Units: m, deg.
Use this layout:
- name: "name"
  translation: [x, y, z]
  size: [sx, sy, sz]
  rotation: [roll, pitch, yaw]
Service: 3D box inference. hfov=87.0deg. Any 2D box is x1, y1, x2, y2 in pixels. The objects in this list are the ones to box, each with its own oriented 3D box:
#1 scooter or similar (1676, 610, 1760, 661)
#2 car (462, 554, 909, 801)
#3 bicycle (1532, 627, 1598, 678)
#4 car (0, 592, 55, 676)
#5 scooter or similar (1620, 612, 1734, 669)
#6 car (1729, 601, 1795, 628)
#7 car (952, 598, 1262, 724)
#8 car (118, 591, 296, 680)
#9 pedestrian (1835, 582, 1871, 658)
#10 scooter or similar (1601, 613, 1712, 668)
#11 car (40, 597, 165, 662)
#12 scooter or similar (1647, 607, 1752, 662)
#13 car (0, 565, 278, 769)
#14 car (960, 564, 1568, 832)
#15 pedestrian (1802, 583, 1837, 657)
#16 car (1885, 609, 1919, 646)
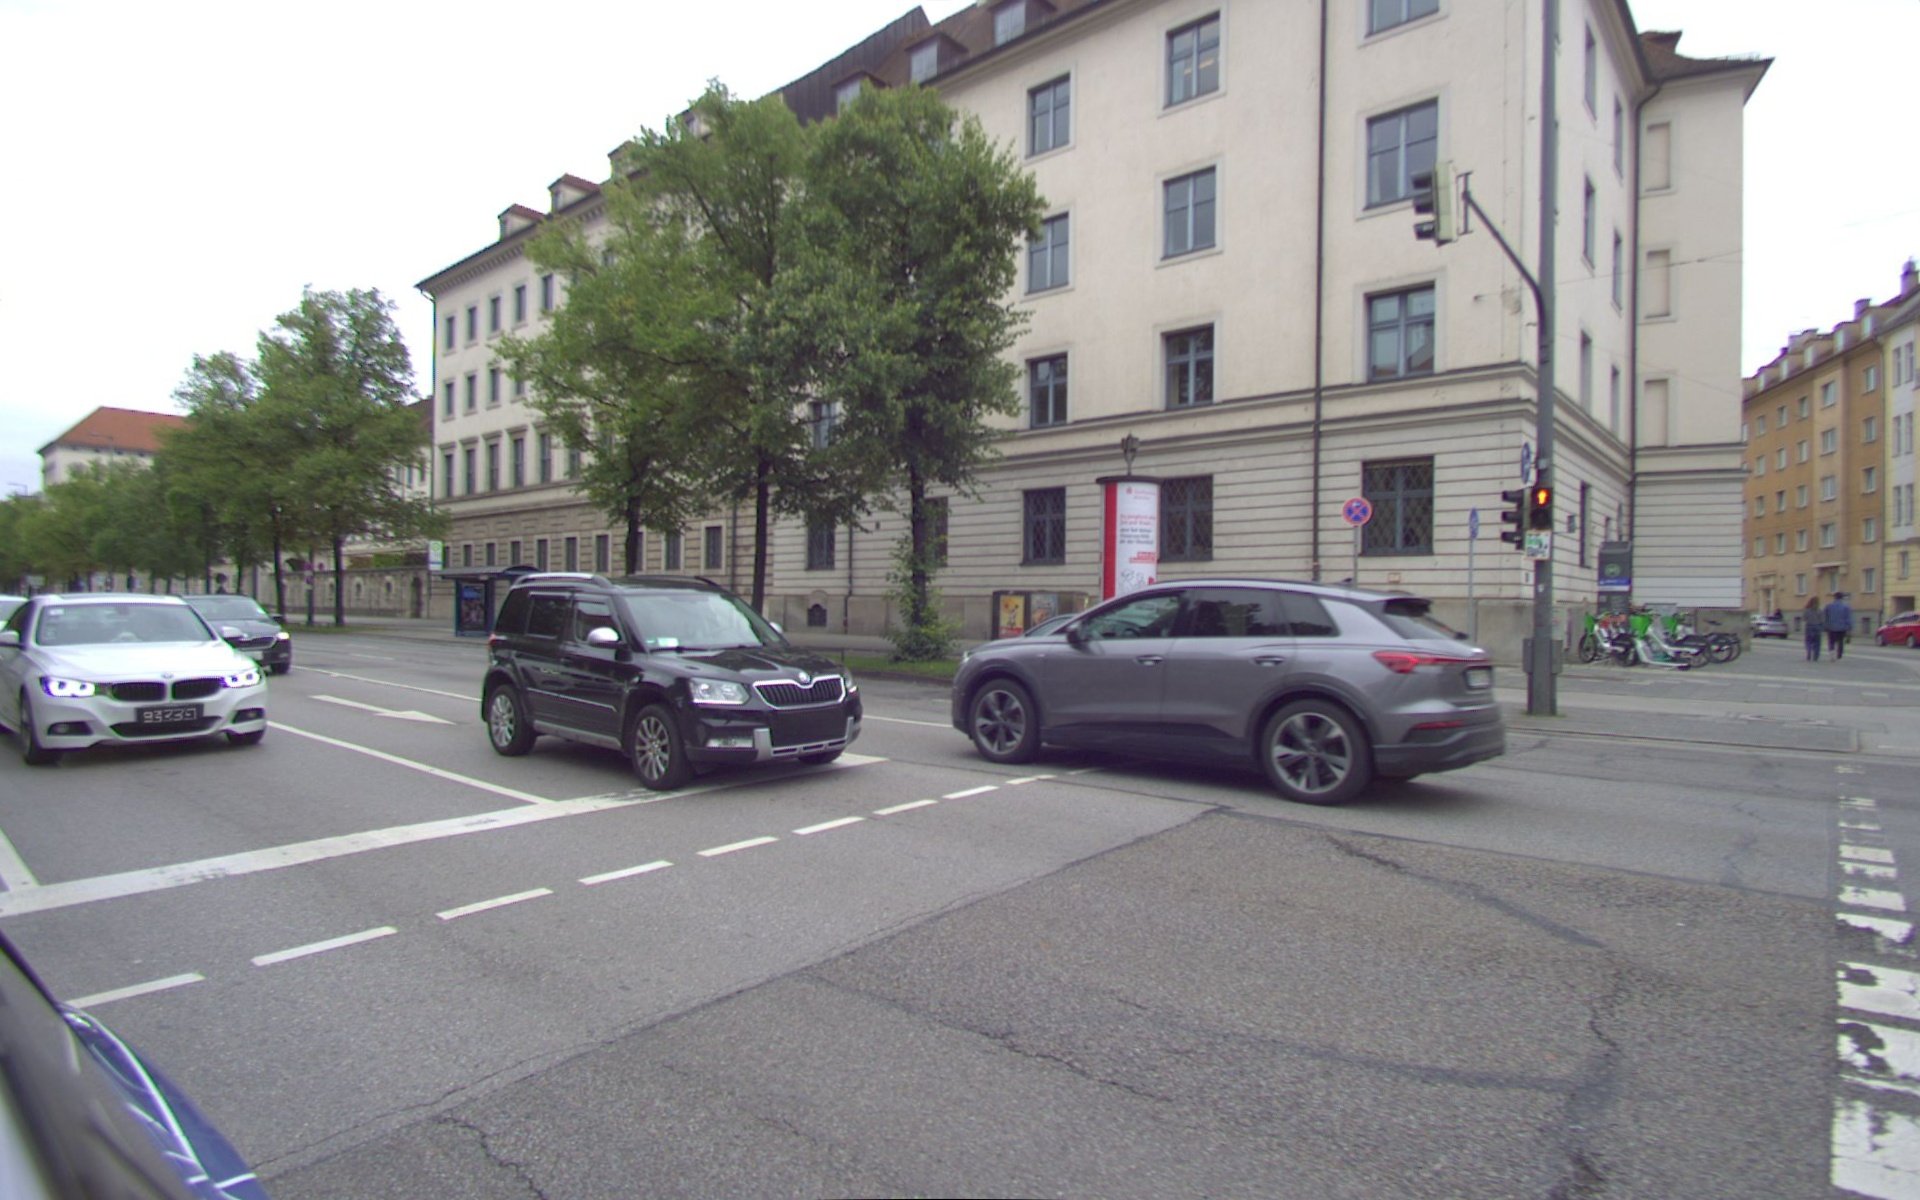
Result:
- name: "scooter or similar"
  translation: [17.817, 0.818, 23.814]
  size: [1.546, 1.127, 0.539]
  rotation: [0, 1, 42]
- name: "car"
  translation: [-2.546, 0.498, 8.803]
  size: [4.203, 1.649, 1.705]
  rotation: [1, 0, 41]
- name: "bicycle"
  translation: [12.447, 1.061, 20.839]
  size: [0.399, 0.954, 1.281]
  rotation: [-1, 1, -12]
- name: "car"
  translation: [-18.593, 0.583, 19.068]
  size: [4.273, 1.458, 1.774]
  rotation: [1, 0, 41]
- name: "scooter or similar"
  translation: [15.302, 0.837, 21.629]
  size: [1.947, 1.127, 0.681]
  rotation: [0, 1, 42]
- name: "car"
  translation: [48.526, 0.871, 61.304]
  size: [1.985, 1.608, 3.698]
  rotation: [0, 0, 19]
- name: "car"
  translation: [2.104, 0.803, 15.350]
  size: [4.443, 1.598, 1.705]
  rotation: [1, 0, 41]
- name: "car"
  translation: [-14.015, 0.576, 18.754]
  size: [4.273, 1.458, 1.774]
  rotation: [1, 0, 41]
- name: "pedestrian"
  translation: [22.482, 0.495, 25.485]
  size: [0.660, 1.866, 0.797]
  rotation: [0, 1, 42]
- name: "scooter or similar"
  translation: [15.515, 0.871, 22.588]
  size: [0.680, 1.127, 1.950]
  rotation: [-1, 1, -43]
- name: "car"
  translation: [-21.548, 0.684, 25.381]
  size: [4.273, 1.458, 1.774]
  rotation: [1, 0, 41]
- name: "scooter or similar"
  translation: [17.002, 0.772, 23.304]
  size: [1.901, 1.166, 0.681]
  rotation: [0, 1, 42]
- name: "car"
  translation: [-8.901, 0.515, 10.507]
  size: [5.024, 1.649, 1.774]
  rotation: [1, 0, 41]
- name: "car"
  translation: [2.203, 0.563, 8.118]
  size: [4.372, 1.598, 1.705]
  rotation: [1, 0, 41]
- name: "pedestrian"
  translation: [22.012, 0.491, 25.914]
  size: [0.660, 1.866, 0.797]
  rotation: [0, 1, 42]
- name: "car"
  translation: [42.842, 1.212, 44.395]
  size: [1.985, 1.608, 3.698]
  rotation: [0, 0, 19]
